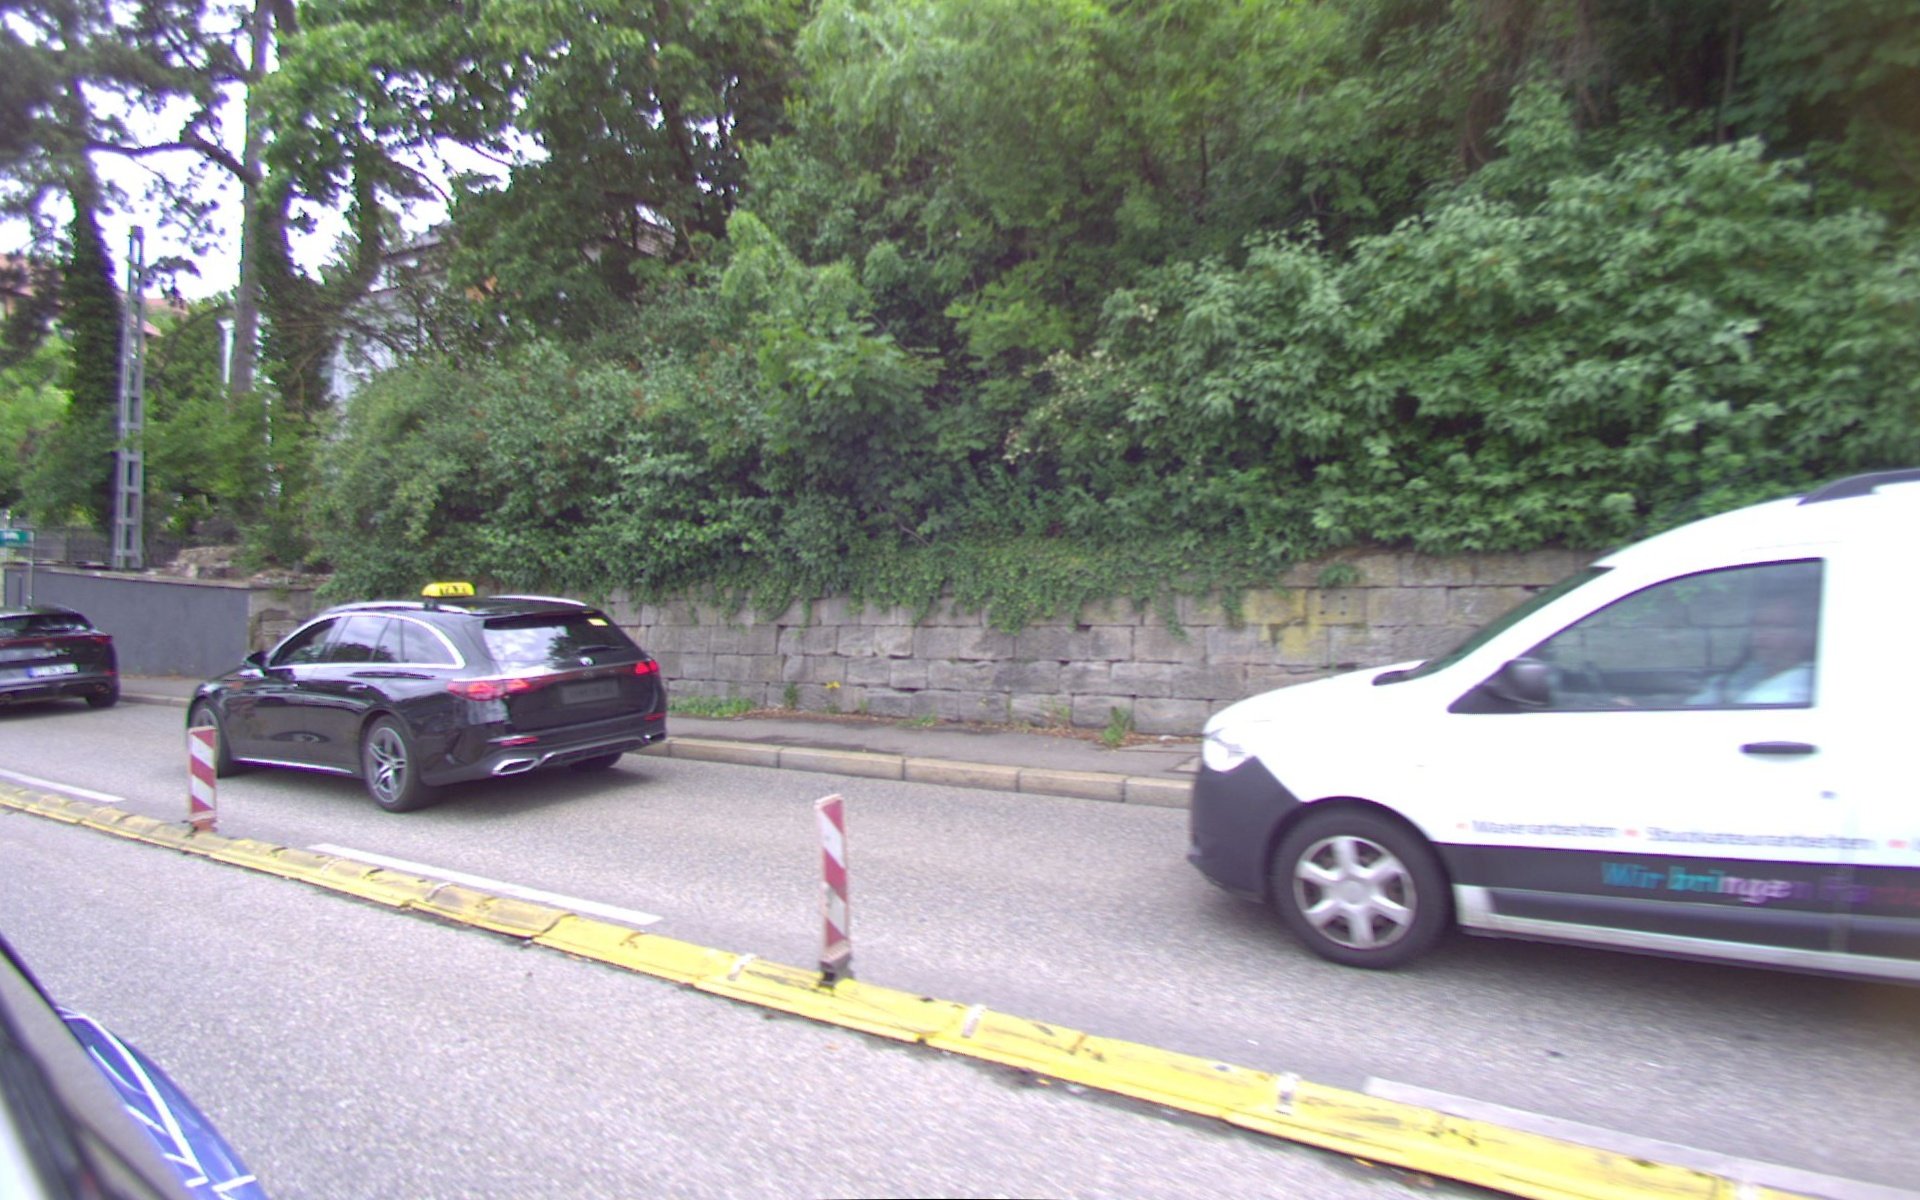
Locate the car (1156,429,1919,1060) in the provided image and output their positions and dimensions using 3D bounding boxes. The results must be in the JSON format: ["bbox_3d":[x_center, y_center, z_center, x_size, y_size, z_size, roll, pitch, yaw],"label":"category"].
[{"bbox_3d":[3.108,0.384,3.700,4.326,1.804,1.790,-1,2,31],"label":"car"}]

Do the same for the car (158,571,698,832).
[{"bbox_3d":[-4.492,0.645,8.319,4.639,1.604,1.817,-1,2,32],"label":"car"}]

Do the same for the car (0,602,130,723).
[{"bbox_3d":[-13.966,0.851,14.581,4.304,1.496,1.815,-1,2,32],"label":"car"}]
